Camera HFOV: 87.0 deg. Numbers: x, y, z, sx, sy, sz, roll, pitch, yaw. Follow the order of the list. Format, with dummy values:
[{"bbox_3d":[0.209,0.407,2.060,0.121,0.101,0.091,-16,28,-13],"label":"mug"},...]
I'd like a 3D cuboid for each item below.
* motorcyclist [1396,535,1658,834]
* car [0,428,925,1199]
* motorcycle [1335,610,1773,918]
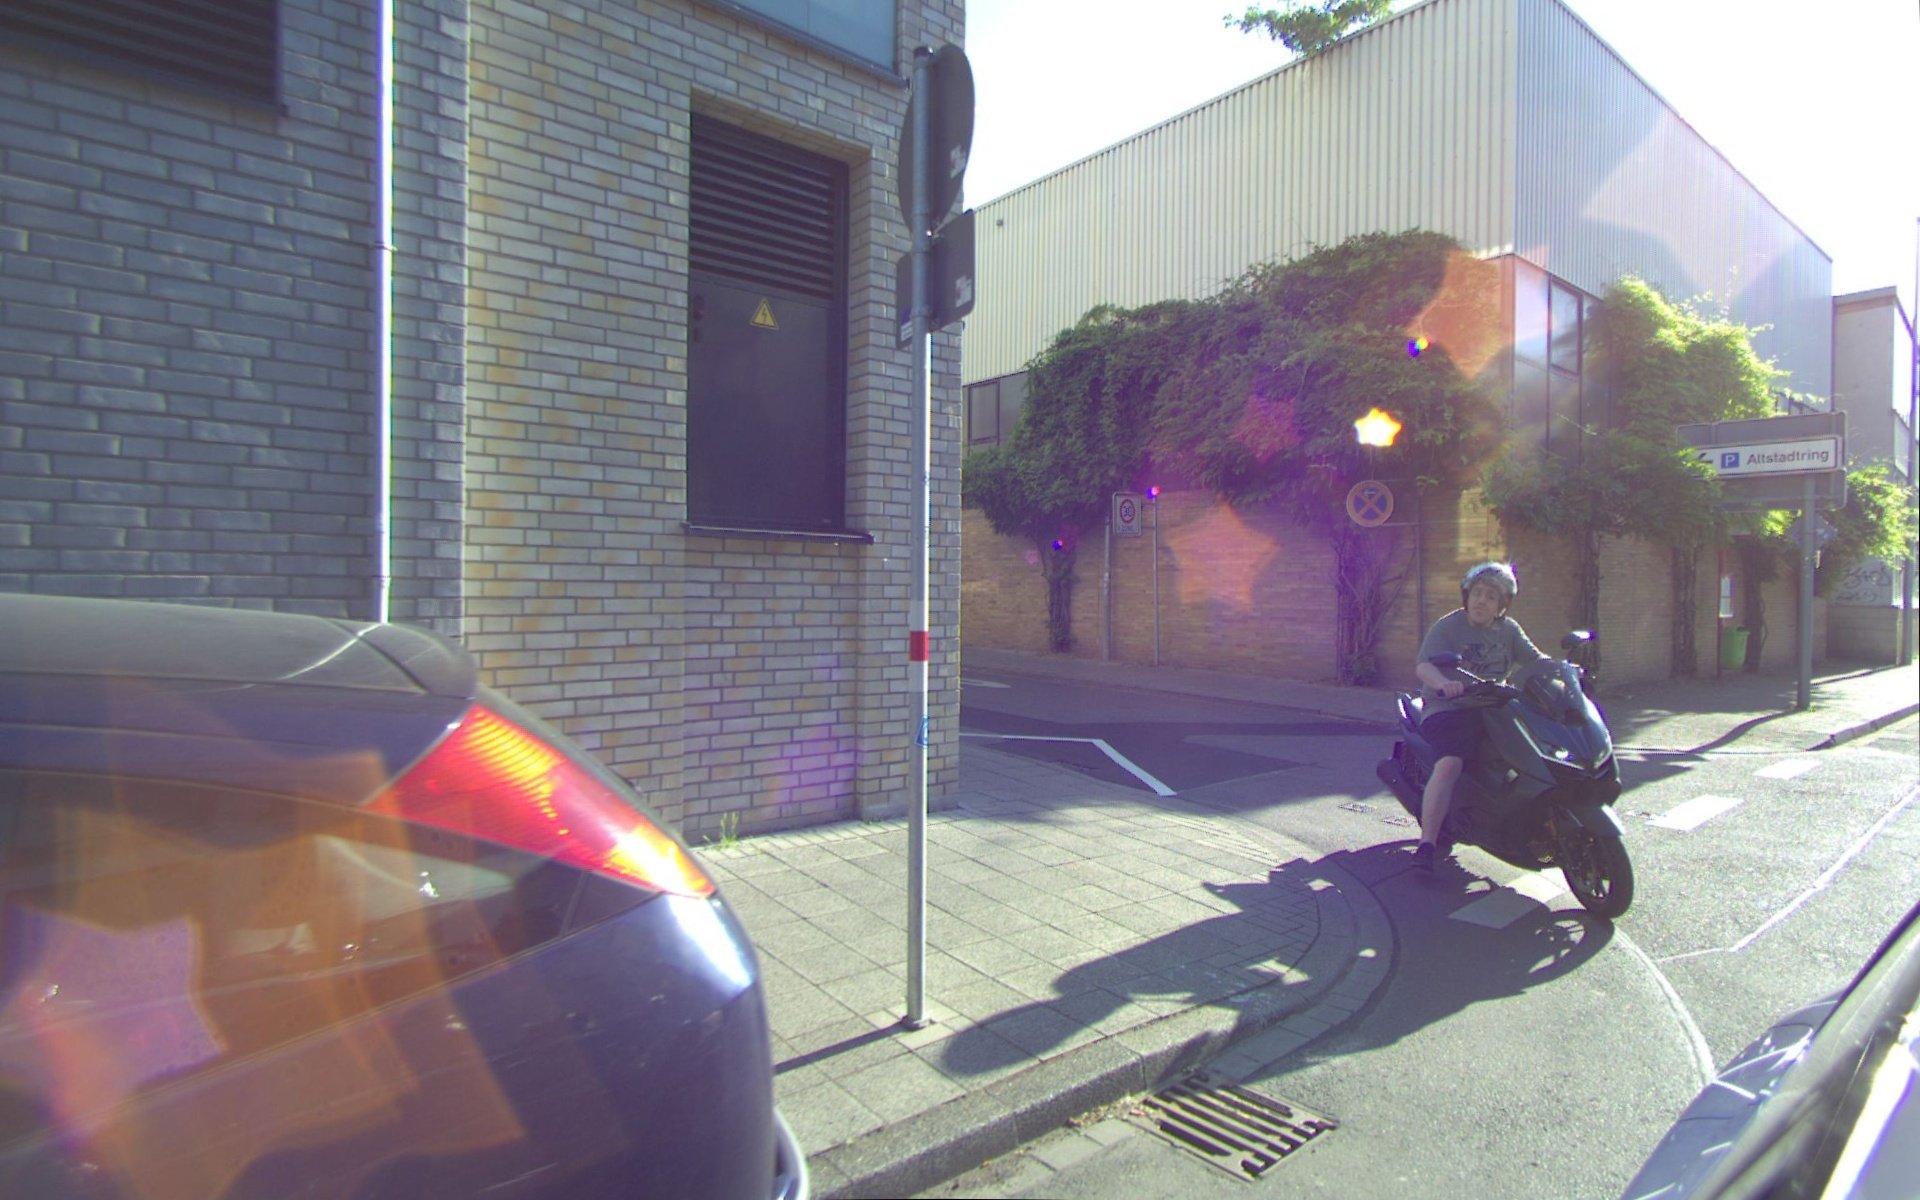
[{"bbox_3d":[3.057,0.420,5.551,0.878,1.491,0.880,-1,0,-5],"label":"motorcyclist"},{"bbox_3d":[-2.091,0.635,0.744,3.999,1.606,1.632,-1,3,-42],"label":"car"},{"bbox_3d":[3.048,0.728,5.615,0.878,1.297,2.344,-1,0,-5],"label":"motorcycle"}]
